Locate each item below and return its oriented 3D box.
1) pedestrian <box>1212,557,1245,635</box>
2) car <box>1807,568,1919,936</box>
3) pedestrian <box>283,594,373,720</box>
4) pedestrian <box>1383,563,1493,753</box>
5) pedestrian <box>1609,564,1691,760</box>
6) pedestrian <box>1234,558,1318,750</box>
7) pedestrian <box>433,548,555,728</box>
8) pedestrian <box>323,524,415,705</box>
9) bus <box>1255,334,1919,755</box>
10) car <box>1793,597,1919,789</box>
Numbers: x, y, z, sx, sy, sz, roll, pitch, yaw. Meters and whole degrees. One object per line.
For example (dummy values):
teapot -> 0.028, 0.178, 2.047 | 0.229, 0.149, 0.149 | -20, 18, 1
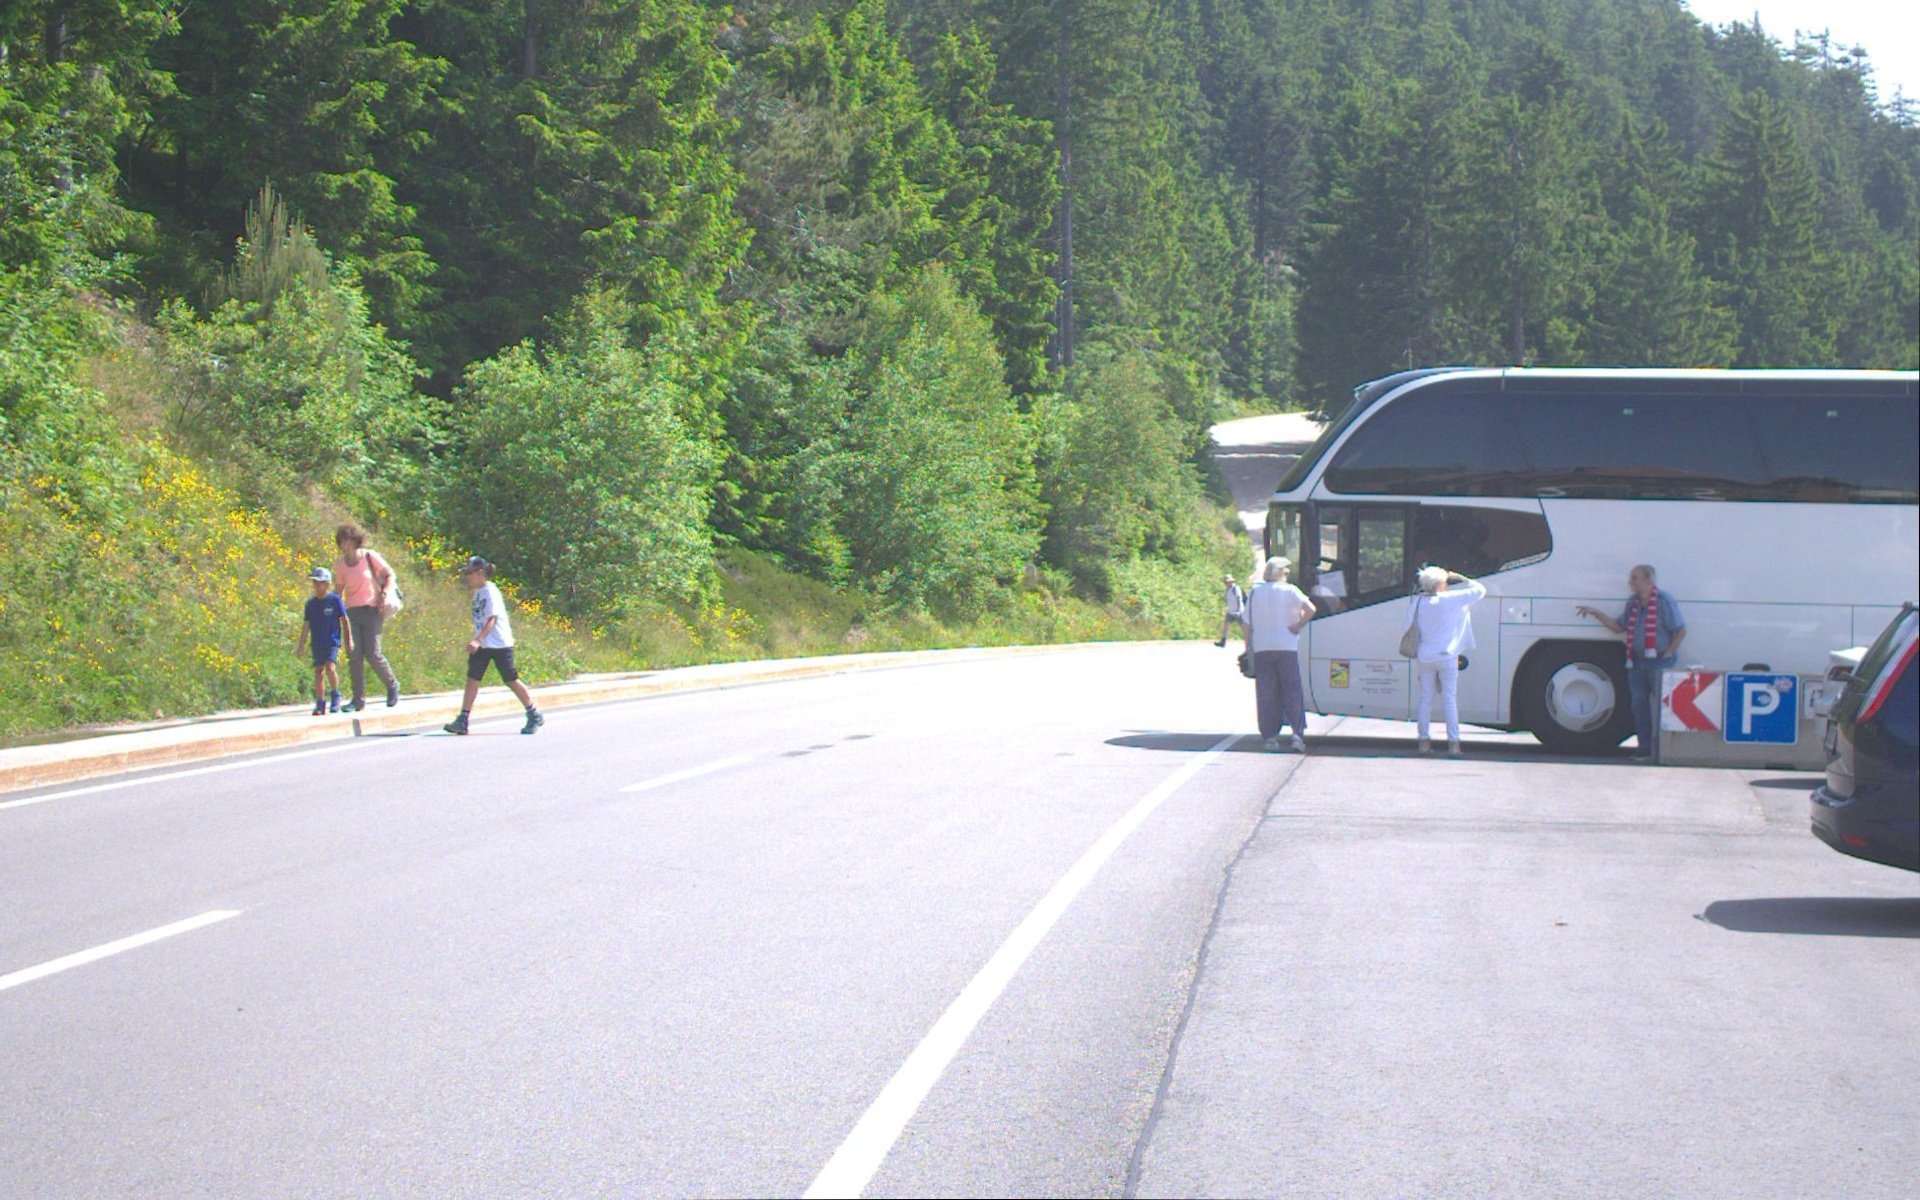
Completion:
pedestrian -> 6.101, -0.097, 78.026 | 0.682, 1.740, 0.825 | 1, 0, 6
car -> 5.939, 0.684, 15.117 | 4.132, 1.539, 1.671 | 1, 1, 9
pedestrian -> -5.622, 0.502, 30.608 | 0.569, 1.098, 0.744 | 0, 1, 9
pedestrian -> 4.078, 0.480, 29.337 | 0.645, 1.590, 0.743 | 1, 1, 38
pedestrian -> 5.868, 0.516, 29.227 | 0.644, 1.637, 0.744 | 0, 1, 14
pedestrian -> 2.736, 0.460, 29.809 | 0.707, 1.637, 0.745 | 0, 1, 4
pedestrian -> -4.043, 0.314, 29.833 | 0.877, 1.532, 0.582 | -1, 1, -41
pedestrian -> -5.442, 0.123, 31.685 | 0.576, 1.637, 0.894 | 0, 1, 9
bus -> 9.213, -0.463, 30.305 | 12.854, 3.565, 2.837 | 1, 0, 14
car -> 8.620, 0.745, 25.937 | 4.427, 1.391, 1.717 | 2, 1, 16
